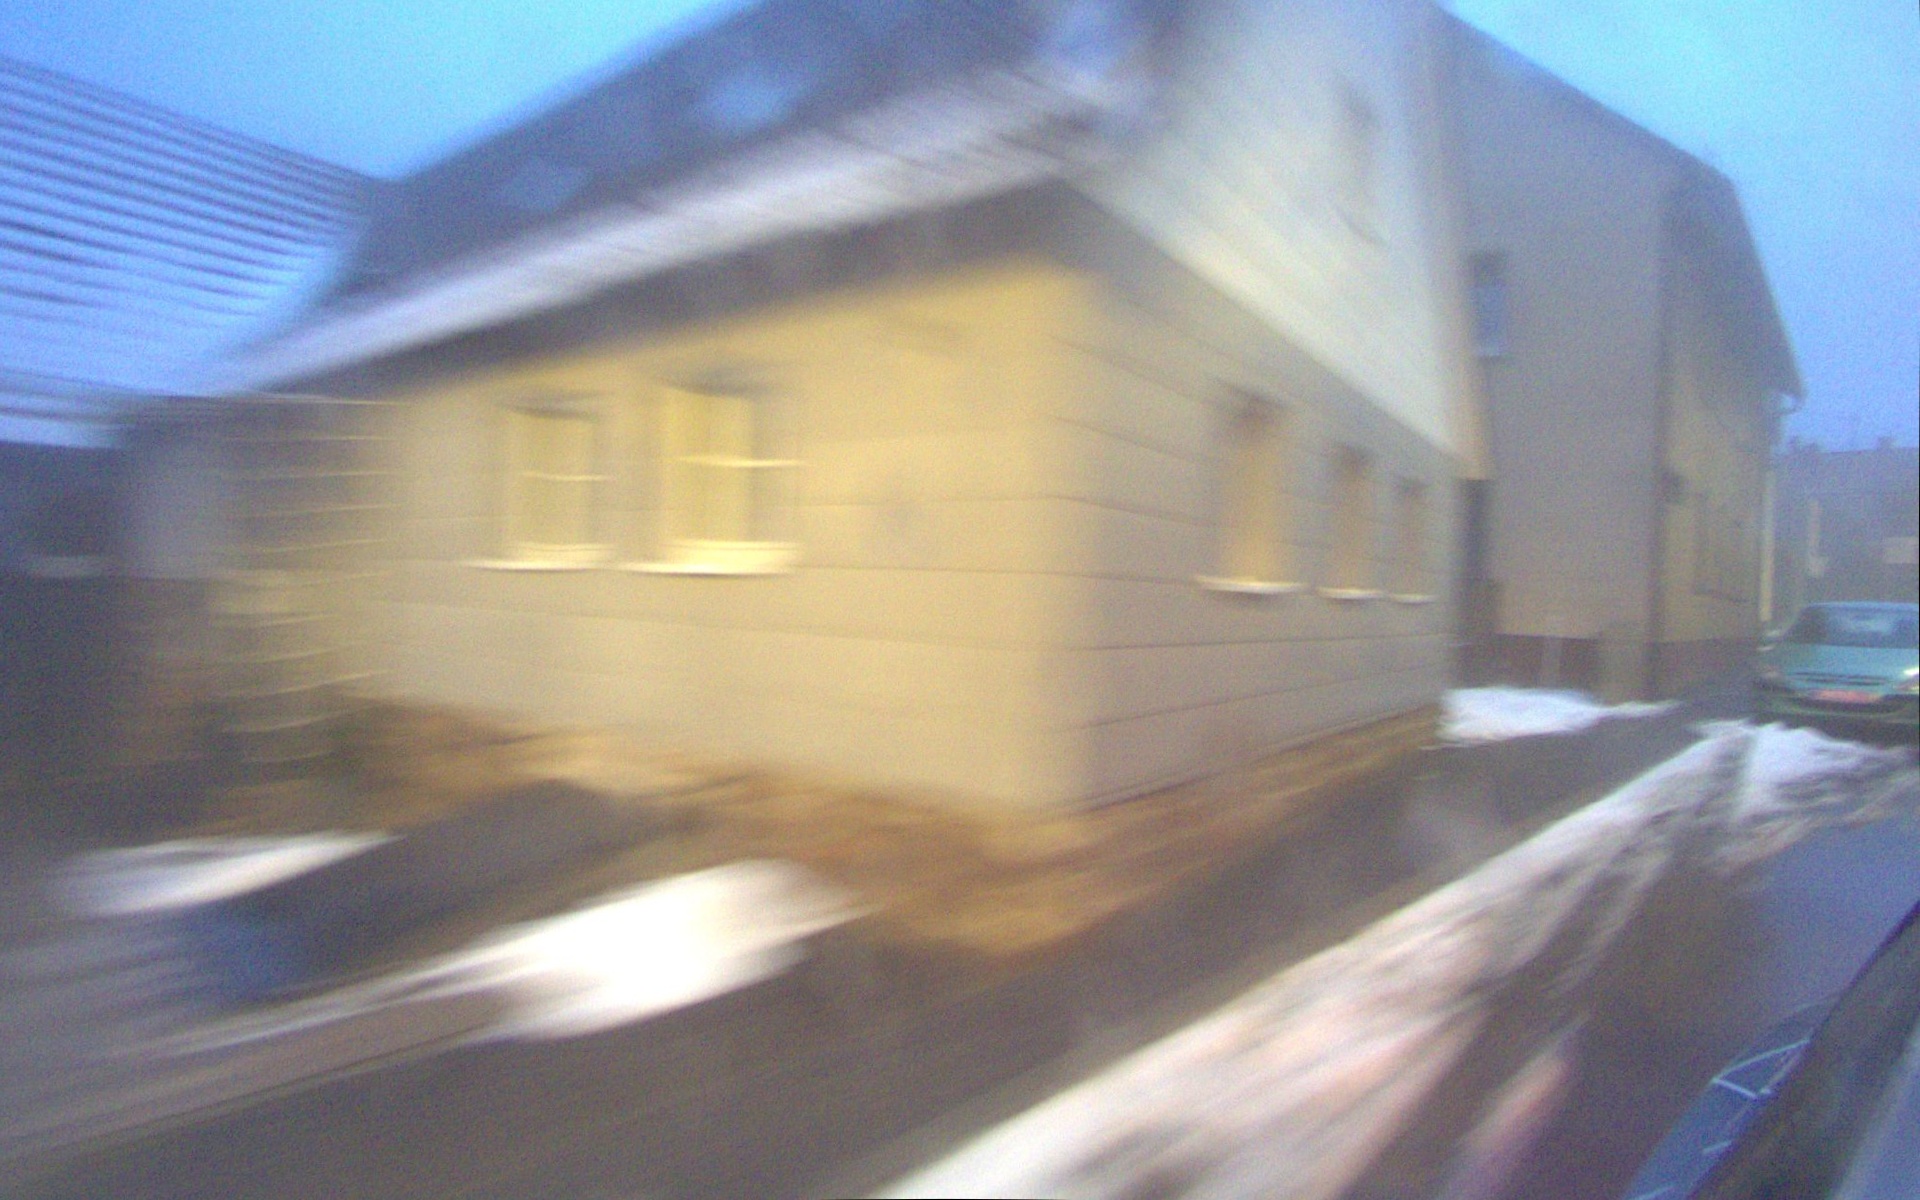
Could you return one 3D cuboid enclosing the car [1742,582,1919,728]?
[{"bbox_3d":[11.105,0.540,12.246,4.209,1.499,1.913,-1,2,-43],"label":"car"}]

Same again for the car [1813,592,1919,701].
[{"bbox_3d":[14.860,0.669,15.929,3.841,1.518,1.719,0,2,-43],"label":"car"}]
